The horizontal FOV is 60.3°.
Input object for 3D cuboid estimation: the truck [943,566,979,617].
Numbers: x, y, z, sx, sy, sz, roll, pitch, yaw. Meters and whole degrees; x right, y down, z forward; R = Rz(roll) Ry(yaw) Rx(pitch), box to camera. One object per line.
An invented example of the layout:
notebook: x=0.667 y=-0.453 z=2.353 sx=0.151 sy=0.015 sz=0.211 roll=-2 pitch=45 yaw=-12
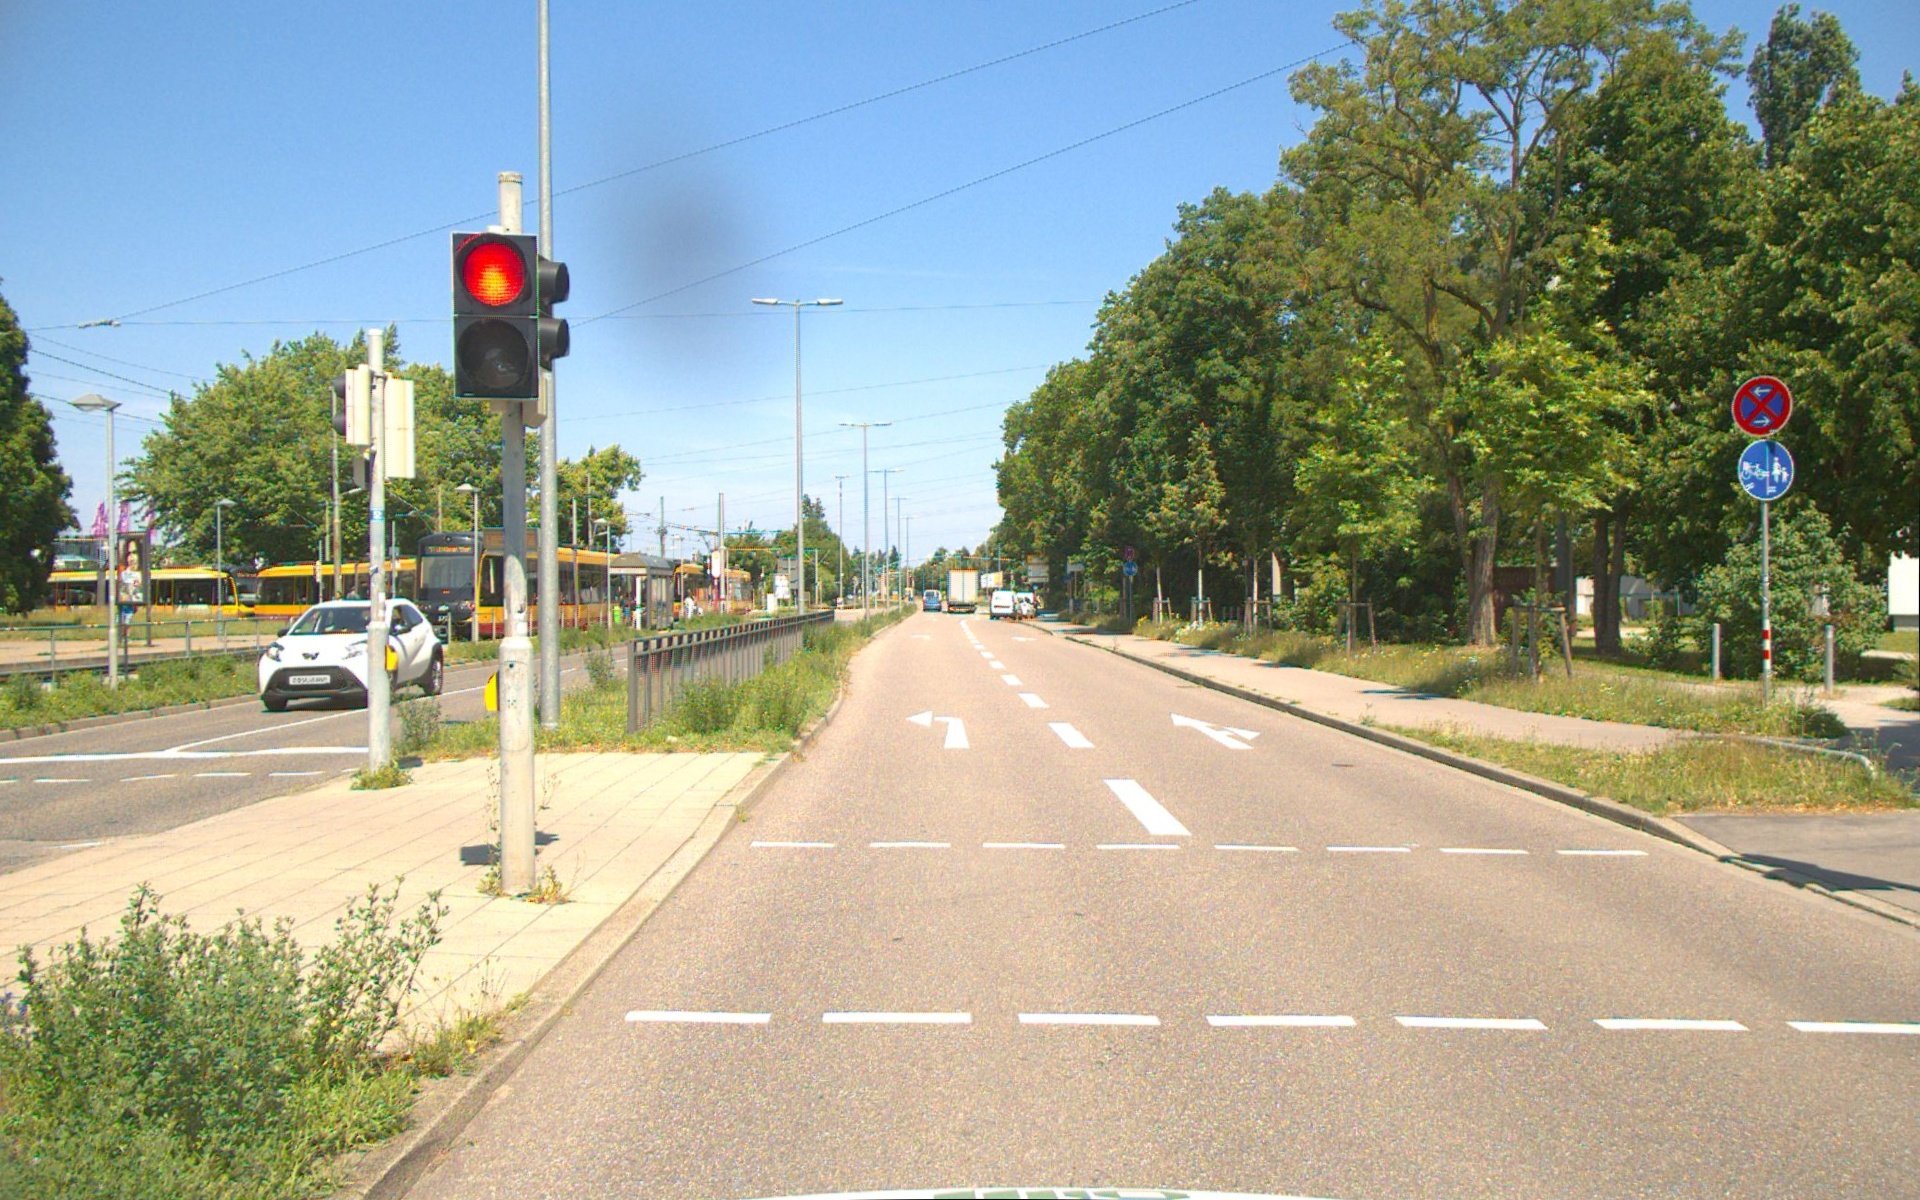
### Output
truck: x=0.055 y=-0.733 z=146.054 sx=3.140 sy=4.435 sz=6.559 roll=0 pitch=0 yaw=-1

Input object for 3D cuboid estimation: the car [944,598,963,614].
car: x=-0.606 y=0.560 z=153.588 sx=1.774 sy=1.490 sz=3.999 roll=0 pitch=0 yaw=-1

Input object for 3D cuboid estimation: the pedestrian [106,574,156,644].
pedestrian: x=-24.719 y=0.268 z=49.330 sx=0.961 sy=2.049 sz=1.021 roll=0 pitch=0 yaw=-1

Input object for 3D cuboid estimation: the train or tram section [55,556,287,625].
train or tram section: x=-48.701 y=-0.515 z=101.617 sx=18.095 sy=4.000 sz=3.220 roll=0 pitch=0 yaw=30

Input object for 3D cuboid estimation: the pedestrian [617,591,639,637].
pedestrian: x=-13.857 y=0.591 z=69.068 sx=0.769 sy=1.901 sz=0.817 roll=0 pitch=0 yaw=-1

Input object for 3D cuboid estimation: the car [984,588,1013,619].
car: x=2.442 y=0.219 z=105.538 sx=1.743 sy=1.937 sz=3.999 roll=0 pitch=0 yaw=-1

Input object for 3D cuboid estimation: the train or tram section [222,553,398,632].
train or tram section: x=-36.227 y=-0.372 z=91.369 sx=3.197 sy=4.000 sz=18.223 roll=0 pitch=0 yaw=-41

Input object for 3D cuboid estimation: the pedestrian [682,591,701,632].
pedestrian: x=-13.752 y=0.589 z=84.716 sx=0.798 sy=2.049 sz=0.938 roll=0 pitch=0 yaw=-1

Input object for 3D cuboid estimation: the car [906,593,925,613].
car: x=-4.716 y=0.330 z=175.077 sx=1.953 sy=2.049 sz=3.999 roll=0 pitch=0 yaw=-1

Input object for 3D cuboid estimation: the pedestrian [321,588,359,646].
pedestrian: x=-21.855 y=0.589 z=58.282 sx=0.961 sy=2.049 sz=1.021 roll=0 pitch=0 yaw=-1

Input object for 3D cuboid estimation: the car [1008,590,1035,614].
car: x=4.393 y=0.116 z=118.843 sx=1.743 sy=1.698 sz=3.999 roll=0 pitch=0 yaw=-1

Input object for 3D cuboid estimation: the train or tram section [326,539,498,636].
train or tram section: x=-25.861 y=-0.522 z=77.007 sx=3.186 sy=4.000 sz=18.290 roll=0 pitch=0 yaw=-33

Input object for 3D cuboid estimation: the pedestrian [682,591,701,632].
pedestrian: x=-13.559 y=0.587 z=83.476 sx=0.798 sy=2.049 sz=0.938 roll=0 pitch=0 yaw=-1

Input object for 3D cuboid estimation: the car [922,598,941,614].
car: x=-2.702 y=0.520 z=157.824 sx=1.774 sy=1.490 sz=3.999 roll=0 pitch=0 yaw=-1

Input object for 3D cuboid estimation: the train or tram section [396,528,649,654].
train or tram section: x=-16.126 y=-0.327 z=65.348 sx=2.898 sy=3.815 sz=30.022 roll=0 pitch=0 yaw=-2

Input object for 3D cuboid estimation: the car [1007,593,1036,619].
car: x=4.170 y=0.397 z=112.492 sx=1.743 sy=1.698 sz=3.999 roll=0 pitch=0 yaw=-1

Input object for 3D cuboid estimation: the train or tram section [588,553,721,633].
train or tram section: x=-17.193 y=-0.407 z=96.773 sx=2.872 sy=3.856 sz=33.073 roll=0 pitch=0 yaw=-2

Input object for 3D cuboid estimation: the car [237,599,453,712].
car: x=-8.959 y=0.759 z=24.423 sx=1.807 sy=1.521 sz=3.790 roll=0 pitch=0 yaw=-1

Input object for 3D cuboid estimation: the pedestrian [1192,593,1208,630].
pedestrian: x=9.482 y=0.446 z=65.393 sx=0.591 sy=1.463 sz=0.556 roll=0 pitch=0 yaw=6
